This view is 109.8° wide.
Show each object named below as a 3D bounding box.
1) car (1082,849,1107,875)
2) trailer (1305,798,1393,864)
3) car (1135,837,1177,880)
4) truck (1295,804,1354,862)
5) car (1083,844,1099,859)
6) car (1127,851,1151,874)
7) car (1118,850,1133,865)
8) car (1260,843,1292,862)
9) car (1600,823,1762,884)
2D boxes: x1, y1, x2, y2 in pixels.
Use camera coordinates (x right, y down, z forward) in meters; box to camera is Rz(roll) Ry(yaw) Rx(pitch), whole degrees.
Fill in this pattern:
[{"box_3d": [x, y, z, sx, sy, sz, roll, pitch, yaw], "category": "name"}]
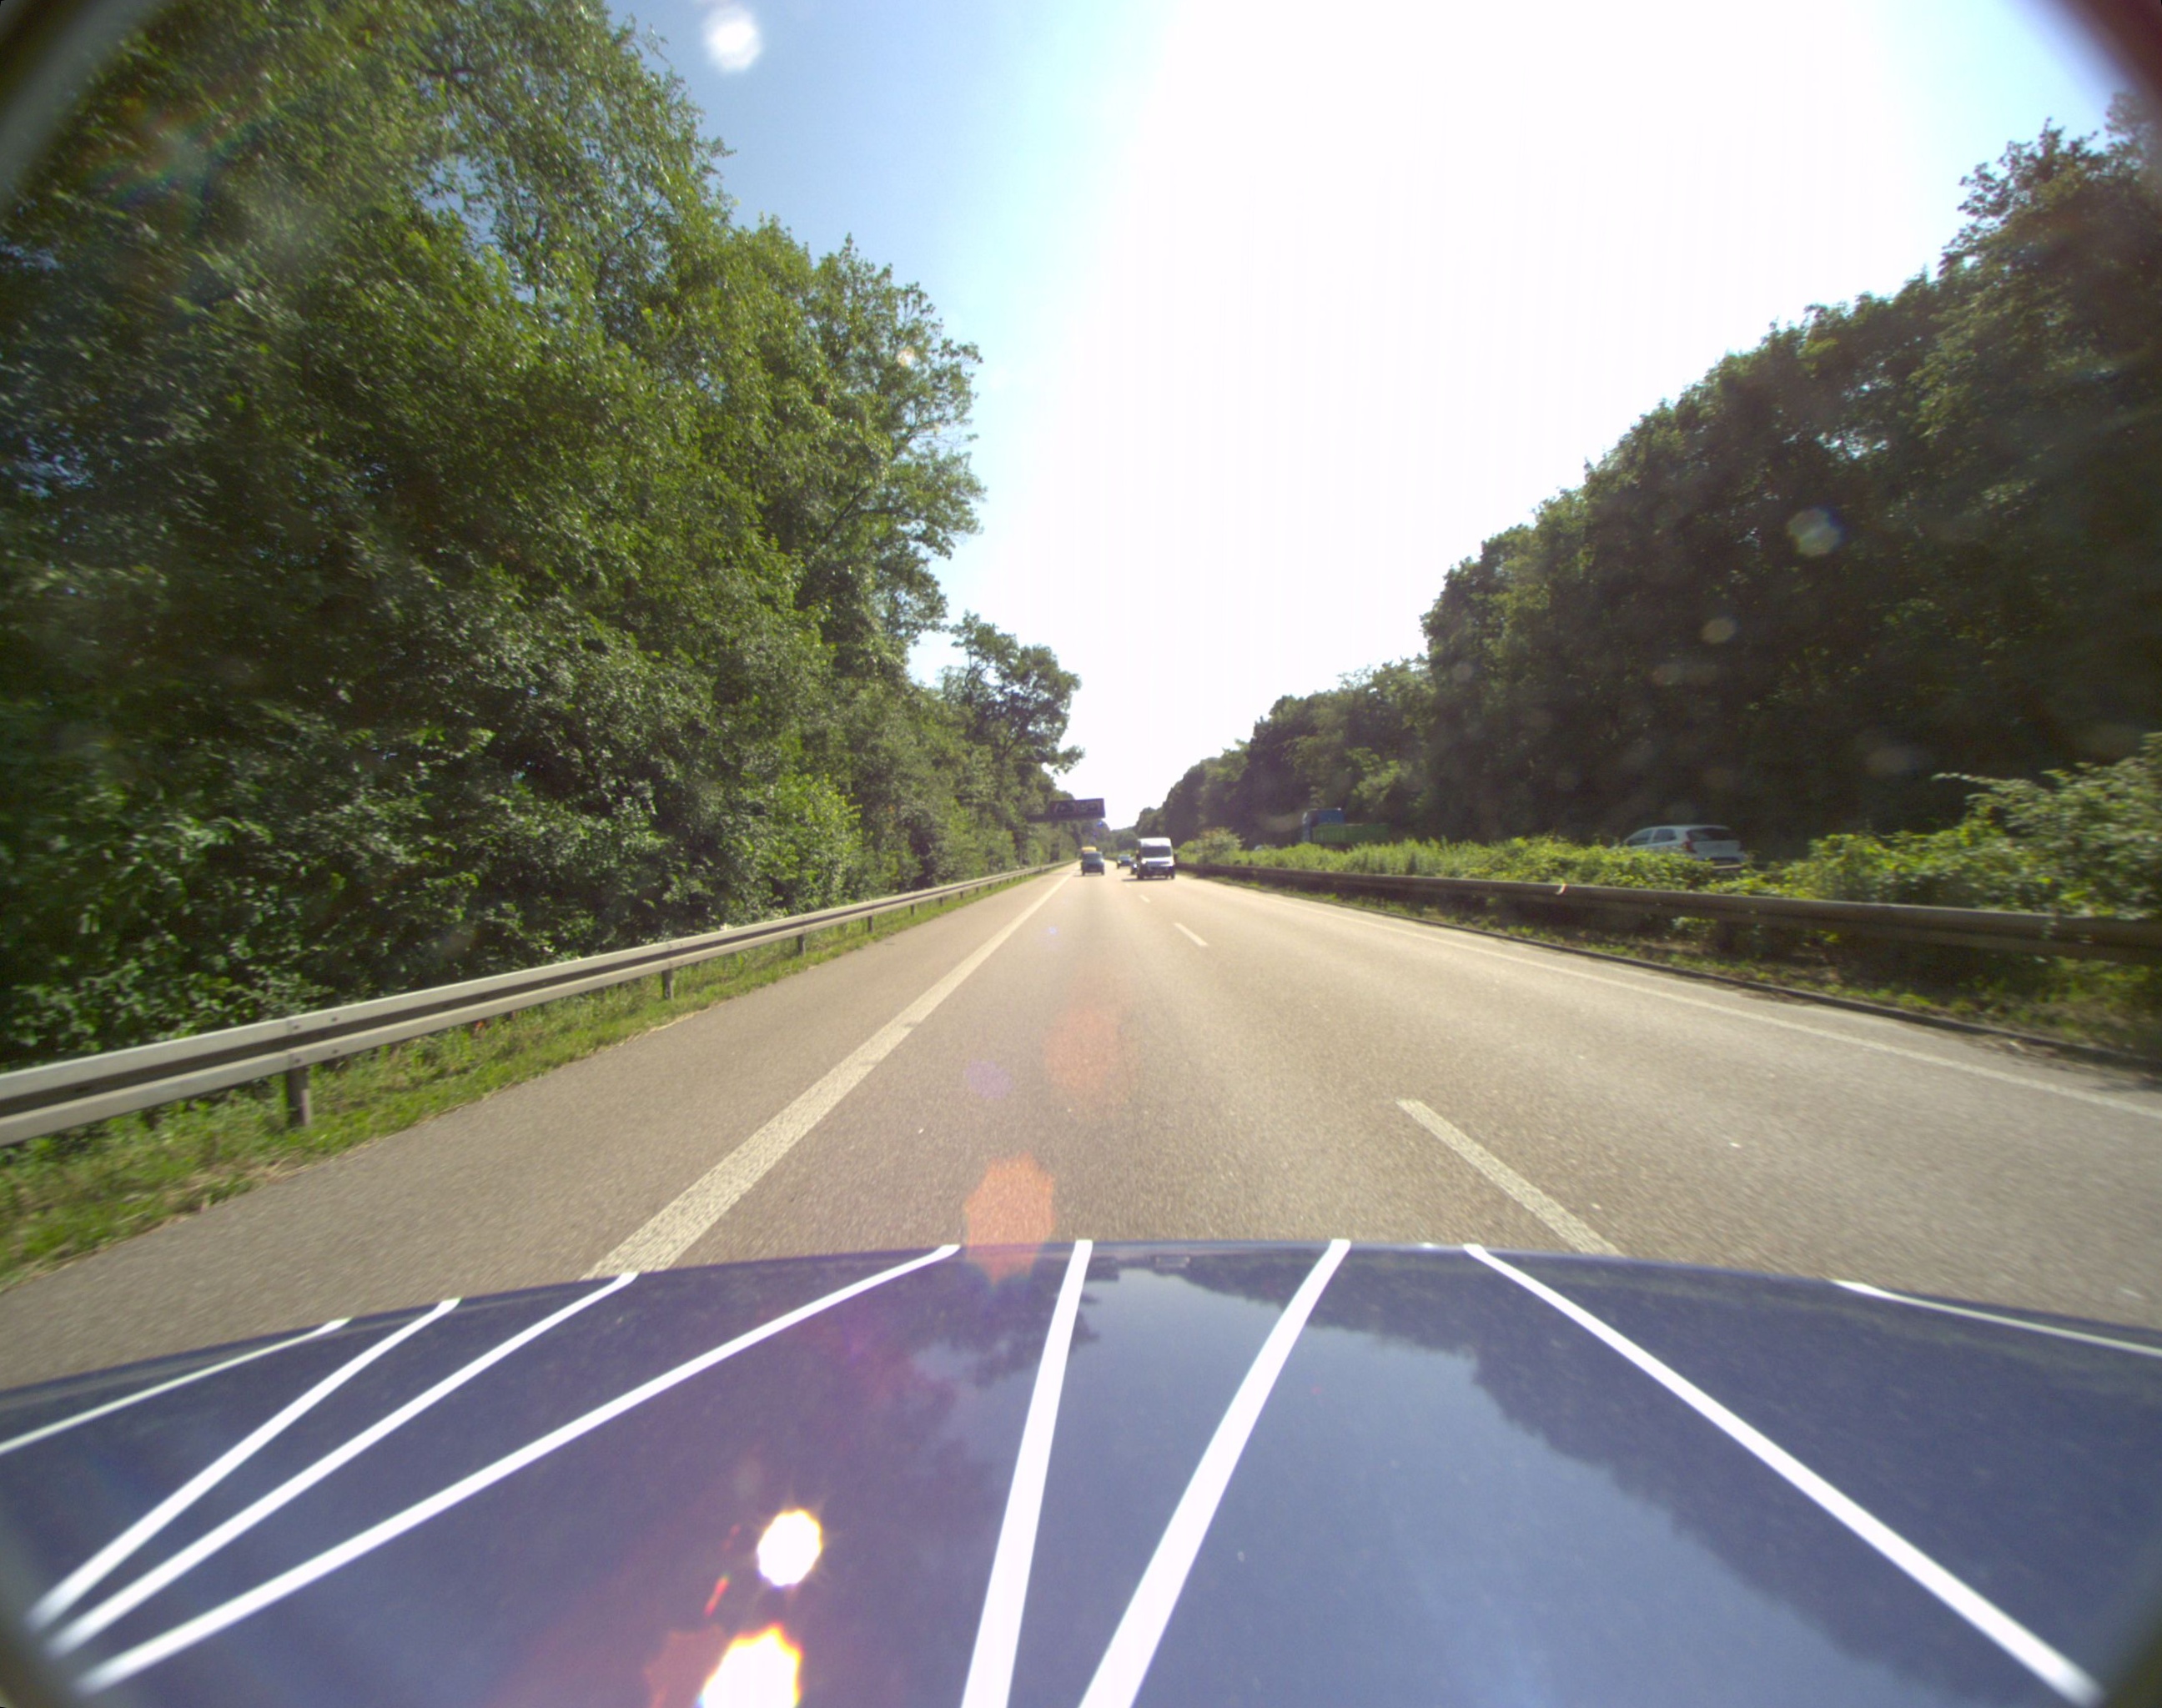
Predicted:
[{"box_3d": [1.051, 0.583, 59.955, 1.812, 1.921, 4.581, -2, 0, 1], "category": "car"}, {"box_3d": [16.443, -1.327, 47.217, 2.695, 3.690, 7.984, -2, 0, 1], "category": "trailer"}, {"box_3d": [4.491, 0.258, 46.165, 2.046, 2.429, 4.638, -2, 0, 1], "category": "car"}, {"box_3d": [16.533, -1.369, 51.801, 2.652, 3.684, 4.000, -2, 1, 1], "category": "truck"}, {"box_3d": [1.205, -0.286, 88.344, 1.737, 1.624, 3.899, -2, 0, 1], "category": "car"}, {"box_3d": [4.515, 0.647, 59.654, 1.666, 1.624, 3.644, -2, 0, 1], "category": "car"}, {"box_3d": [5.188, 0.408, 88.606, 1.517, 1.624, 3.611, -2, 0, 1], "category": "car"}, {"box_3d": [17.483, -0.075, 68.266, 1.697, 1.652, 4.714, -1, 0, 0], "category": "car"}, {"box_3d": [16.319, -0.020, 20.915, 1.676, 1.464, 3.624, -2, 0, 3], "category": "car"}]
